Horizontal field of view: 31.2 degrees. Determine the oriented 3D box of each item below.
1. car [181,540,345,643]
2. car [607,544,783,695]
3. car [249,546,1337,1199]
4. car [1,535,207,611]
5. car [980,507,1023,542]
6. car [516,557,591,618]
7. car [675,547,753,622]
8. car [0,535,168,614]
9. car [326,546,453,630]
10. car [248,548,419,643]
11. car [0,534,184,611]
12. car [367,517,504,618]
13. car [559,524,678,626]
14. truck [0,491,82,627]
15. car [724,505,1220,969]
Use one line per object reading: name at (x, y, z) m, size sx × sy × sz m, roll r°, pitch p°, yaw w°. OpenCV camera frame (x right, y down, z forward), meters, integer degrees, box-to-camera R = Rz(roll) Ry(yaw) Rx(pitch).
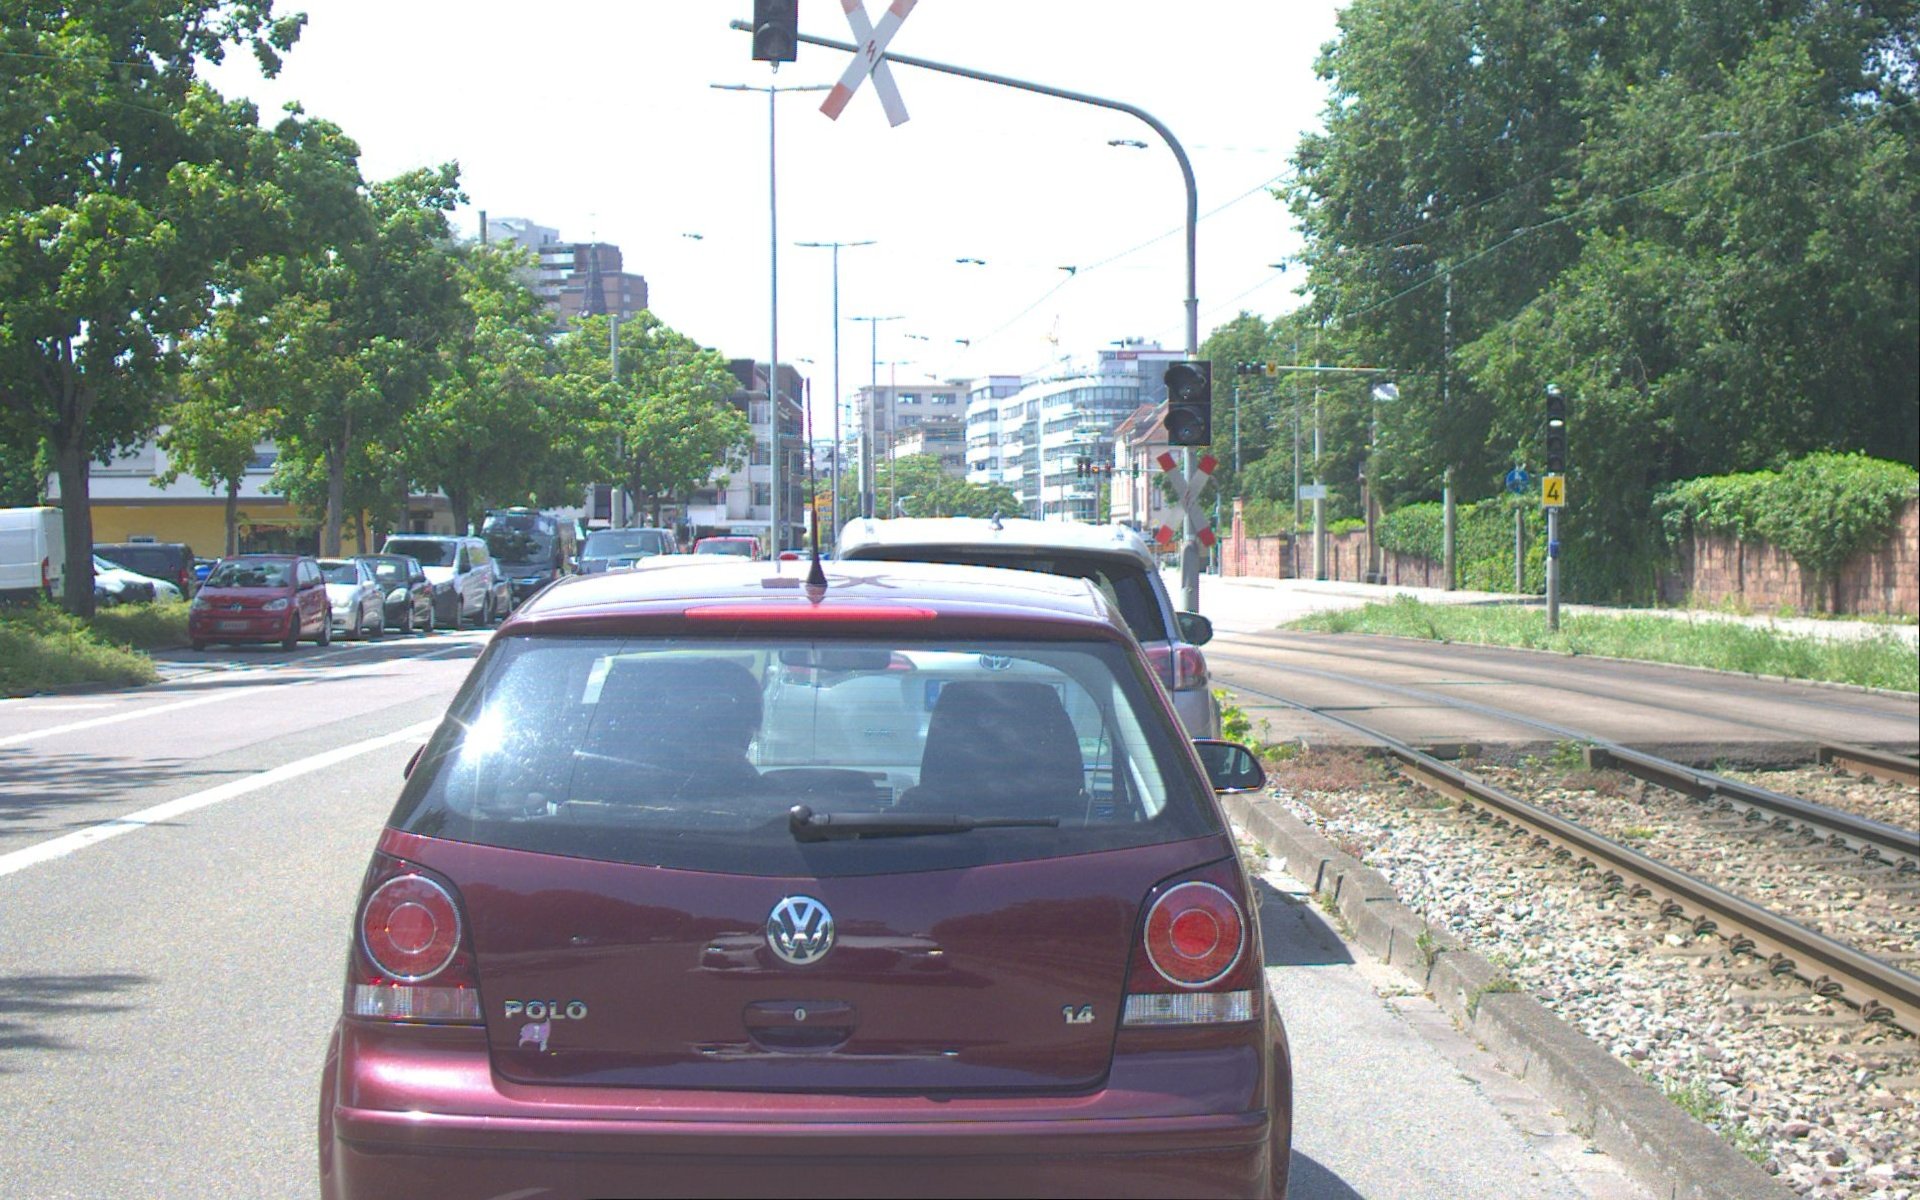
car at (-10.902, -0.141, 53.973) m, size 1.672 × 1.541 × 3.726 m, roll 1°, pitch 0°, yaw 2°
car at (-2.666, 0.163, 35.131) m, size 1.551 × 1.443 × 3.412 m, roll 1°, pitch 1°, yaw -1°
car at (-0.275, 0.651, 7.125) m, size 1.609 × 1.493 × 4.000 m, roll 1°, pitch 1°, yaw -1°
car at (-21.399, -0.682, 86.075) m, size 4.718 × 1.807 × 1.797 m, roll -1°, pitch 1°, yaw -1°
car at (2.289, -4.166, 189.553) m, size 1.918 × 1.904 × 4.572 m, roll -1°, pitch 1°, yaw -5°
car at (-10.363, -0.333, 87.831) m, size 1.405 × 1.435 × 3.840 m, roll 3°, pitch 1°, yaw 0°
car at (-6.710, -0.453, 94.070) m, size 1.898 × 1.919 × 4.820 m, roll -2°, pitch 1°, yaw -2°
car at (-21.333, -0.619, 81.483) m, size 4.718 × 1.807 × 1.797 m, roll -1°, pitch 1°, yaw -1°
car at (-10.891, -0.250, 65.800) m, size 1.614 × 1.479 × 3.784 m, roll 3°, pitch 1°, yaw 2°
car at (-10.988, -0.113, 60.652) m, size 1.719 × 1.422 × 4.770 m, roll -5°, pitch 1°, yaw 4°
car at (-21.415, -0.669, 83.499) m, size 4.718 × 1.807 × 1.797 m, roll -1°, pitch 1°, yaw -1°
car at (-10.808, -0.685, 71.145) m, size 1.863 × 1.930 × 4.805 m, roll 3°, pitch 1°, yaw 2°
car at (-6.730, -0.531, 68.207) m, size 1.918 × 1.904 × 4.571 m, roll -2°, pitch 1°, yaw -1°
truck at (-21.246, -0.832, 70.918) m, size 5.578 × 2.750 × 2.432 m, roll -1°, pitch 1°, yaw 1°
car at (0.019, 0.467, 14.584) m, size 1.795 × 1.677 × 4.000 m, roll 1°, pitch 1°, yaw -1°
